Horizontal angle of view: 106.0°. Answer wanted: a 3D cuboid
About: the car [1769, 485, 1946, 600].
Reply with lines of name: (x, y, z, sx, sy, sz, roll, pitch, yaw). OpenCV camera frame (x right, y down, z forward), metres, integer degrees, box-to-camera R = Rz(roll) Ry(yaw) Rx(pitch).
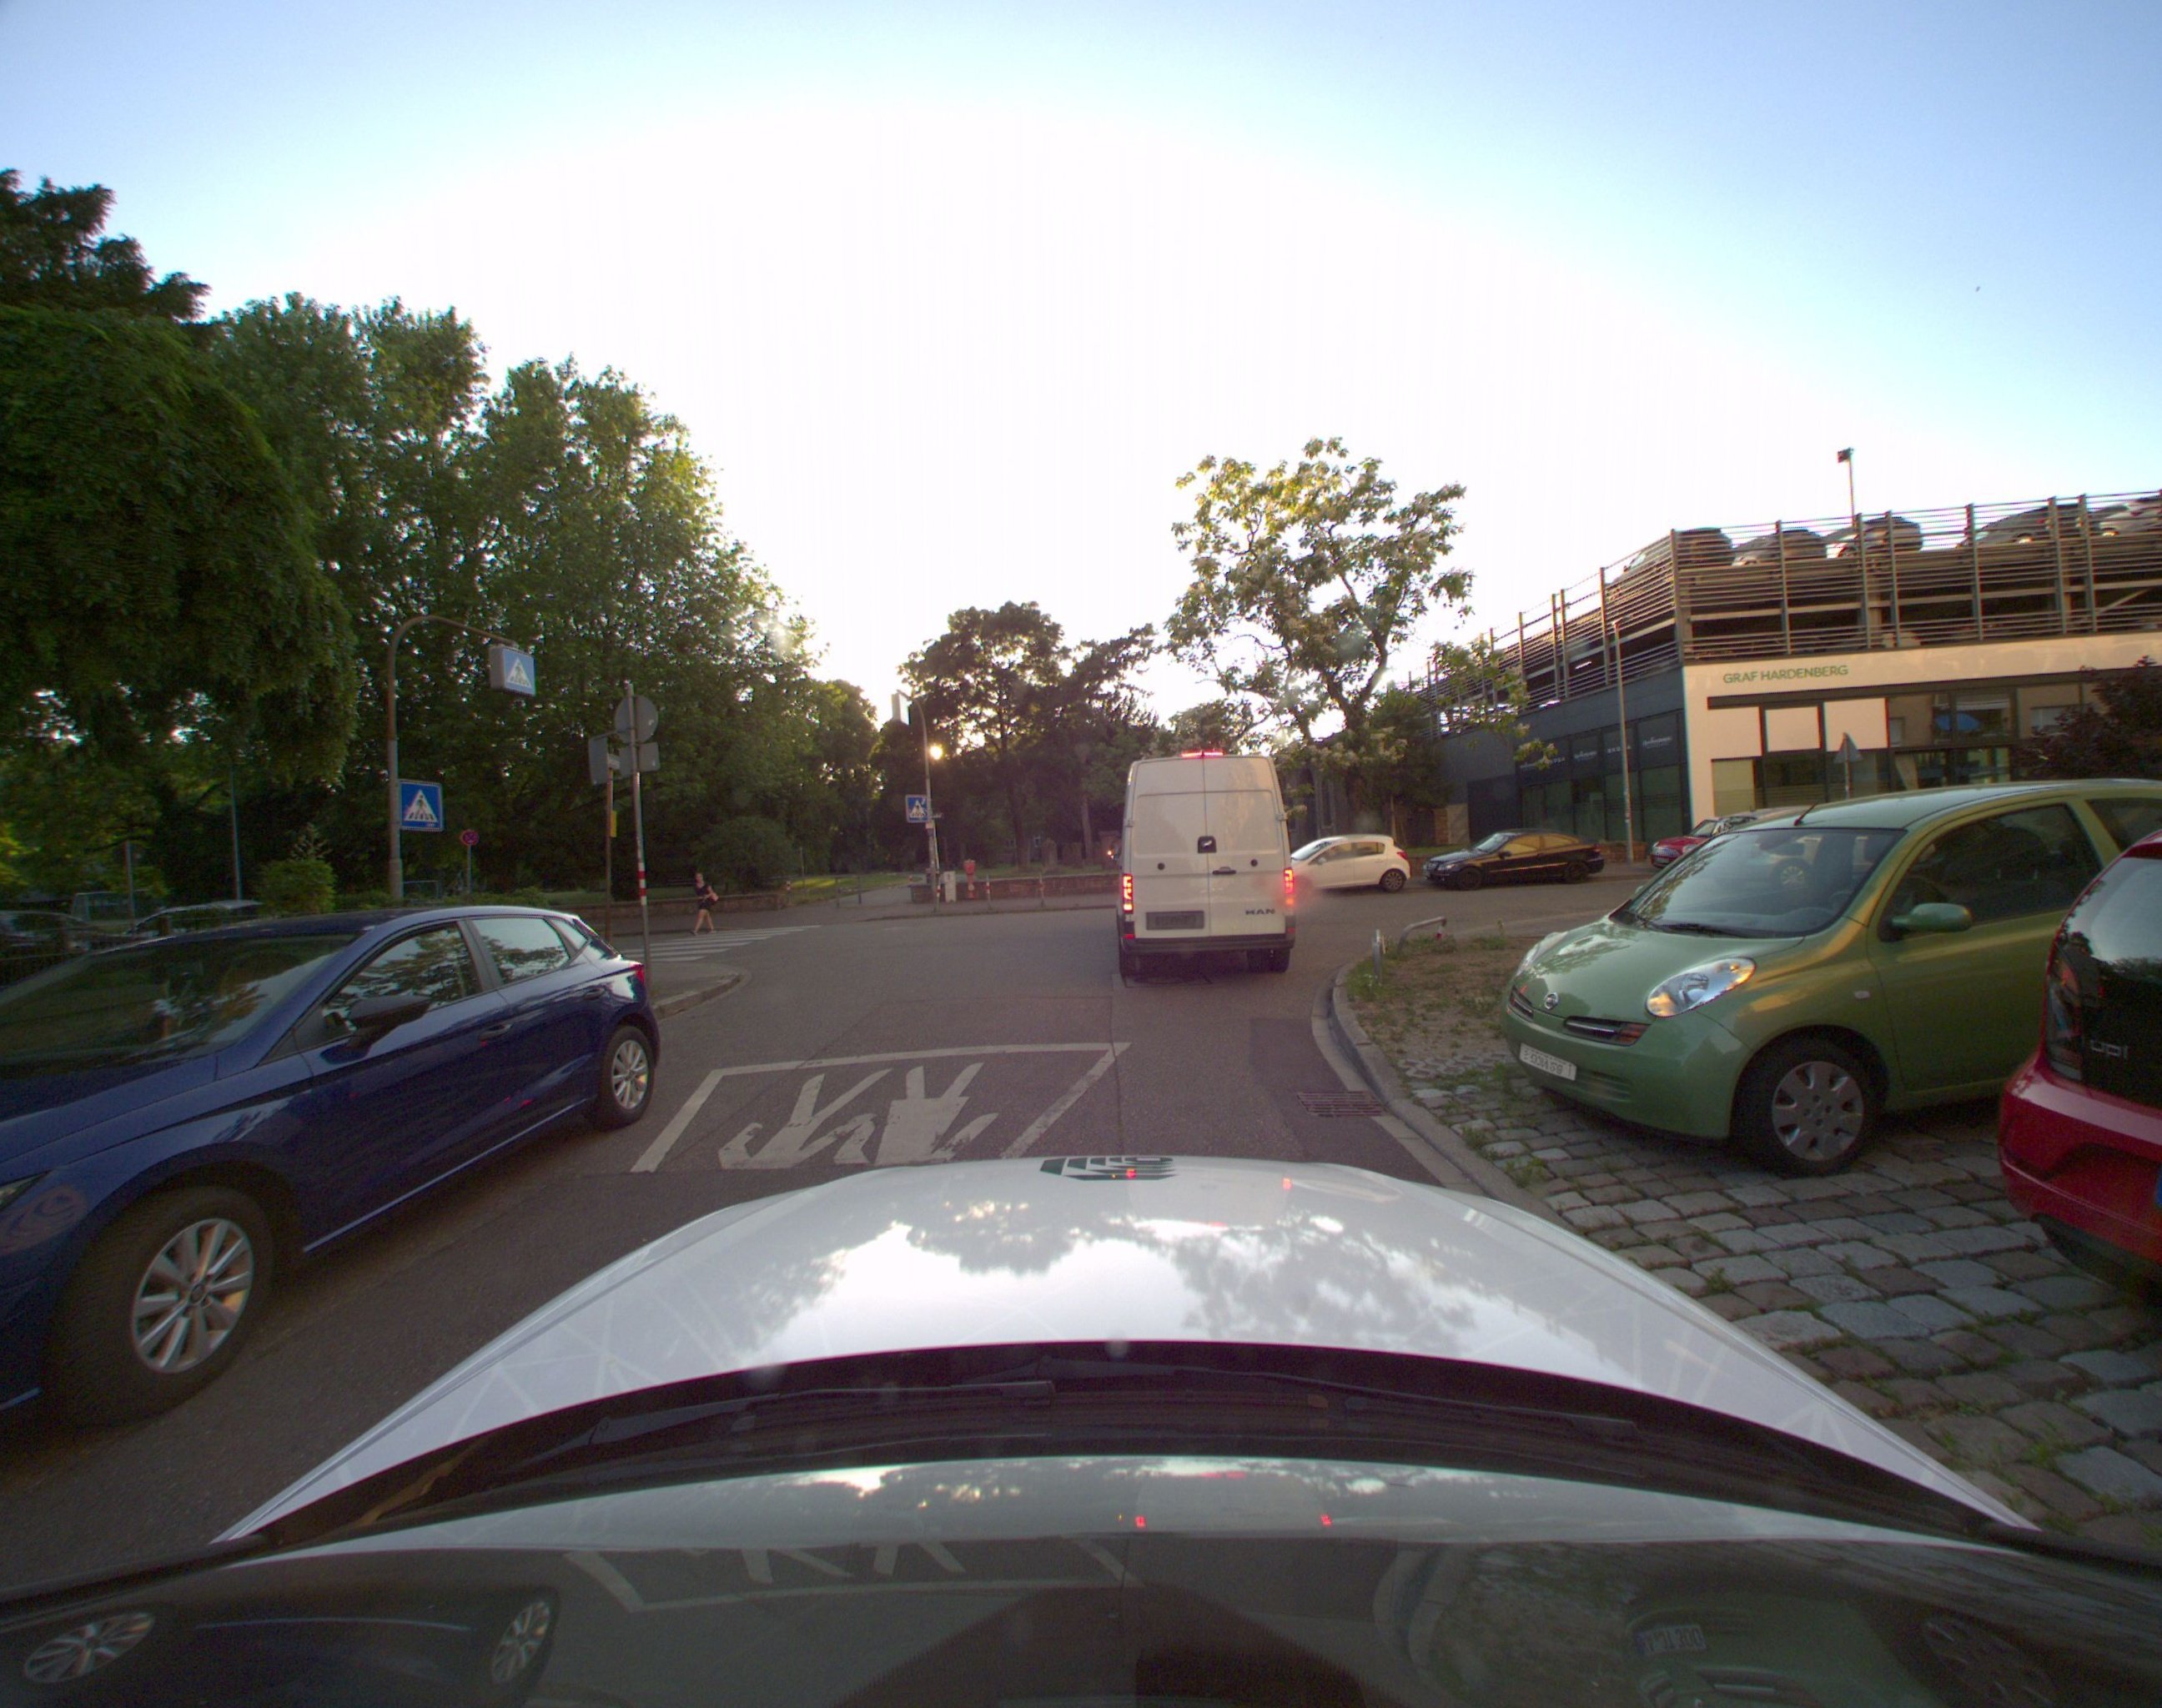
car: (24.492, -9.779, 25.913, 1.984, 2.013, 4.006, -2, 0, 6)

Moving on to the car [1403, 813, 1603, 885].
car: (11.096, -0.124, 21.670, 4.273, 1.503, 1.825, -4, 0, 4)

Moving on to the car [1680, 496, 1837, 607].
car: (21.778, -9.671, 26.420, 1.984, 2.013, 4.006, -2, 0, 6)

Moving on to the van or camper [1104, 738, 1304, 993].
van or camper: (1.462, 0.114, 11.832, 1.985, 2.618, 6.407, -3, 0, 3)

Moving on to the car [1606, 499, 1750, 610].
car: (19.214, -9.595, 26.462, 1.984, 2.013, 4.006, -2, 0, 6)

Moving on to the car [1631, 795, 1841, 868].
car: (16.815, -0.565, 21.067, 3.819, 1.503, 1.826, -4, 0, 4)

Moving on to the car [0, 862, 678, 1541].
car: (-3.549, 0.911, 3.522, 1.729, 1.567, 3.787, -4, 0, -3)

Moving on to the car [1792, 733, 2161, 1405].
car: (4.740, 0.276, 1.877, 4.386, 1.631, 1.847, -7, 0, 2)

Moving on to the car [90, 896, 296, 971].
car: (-25.677, 2.280, 23.650, 3.852, 1.562, 1.826, -4, 6, 3)

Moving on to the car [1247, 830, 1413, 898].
car: (6.659, 0.242, 22.072, 3.844, 1.574, 1.957, -3, 0, -2)

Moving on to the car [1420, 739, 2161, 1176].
car: (4.446, 0.367, 4.374, 4.392, 1.631, 1.844, -4, -2, -2)

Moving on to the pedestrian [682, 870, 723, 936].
pedestrian: (-9.853, 1.263, 21.223, 0.640, 1.648, 0.678, -1, 0, 27)

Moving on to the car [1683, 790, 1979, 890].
car: (14.241, -0.258, 15.667, 3.819, 1.523, 1.826, -4, 0, 4)
